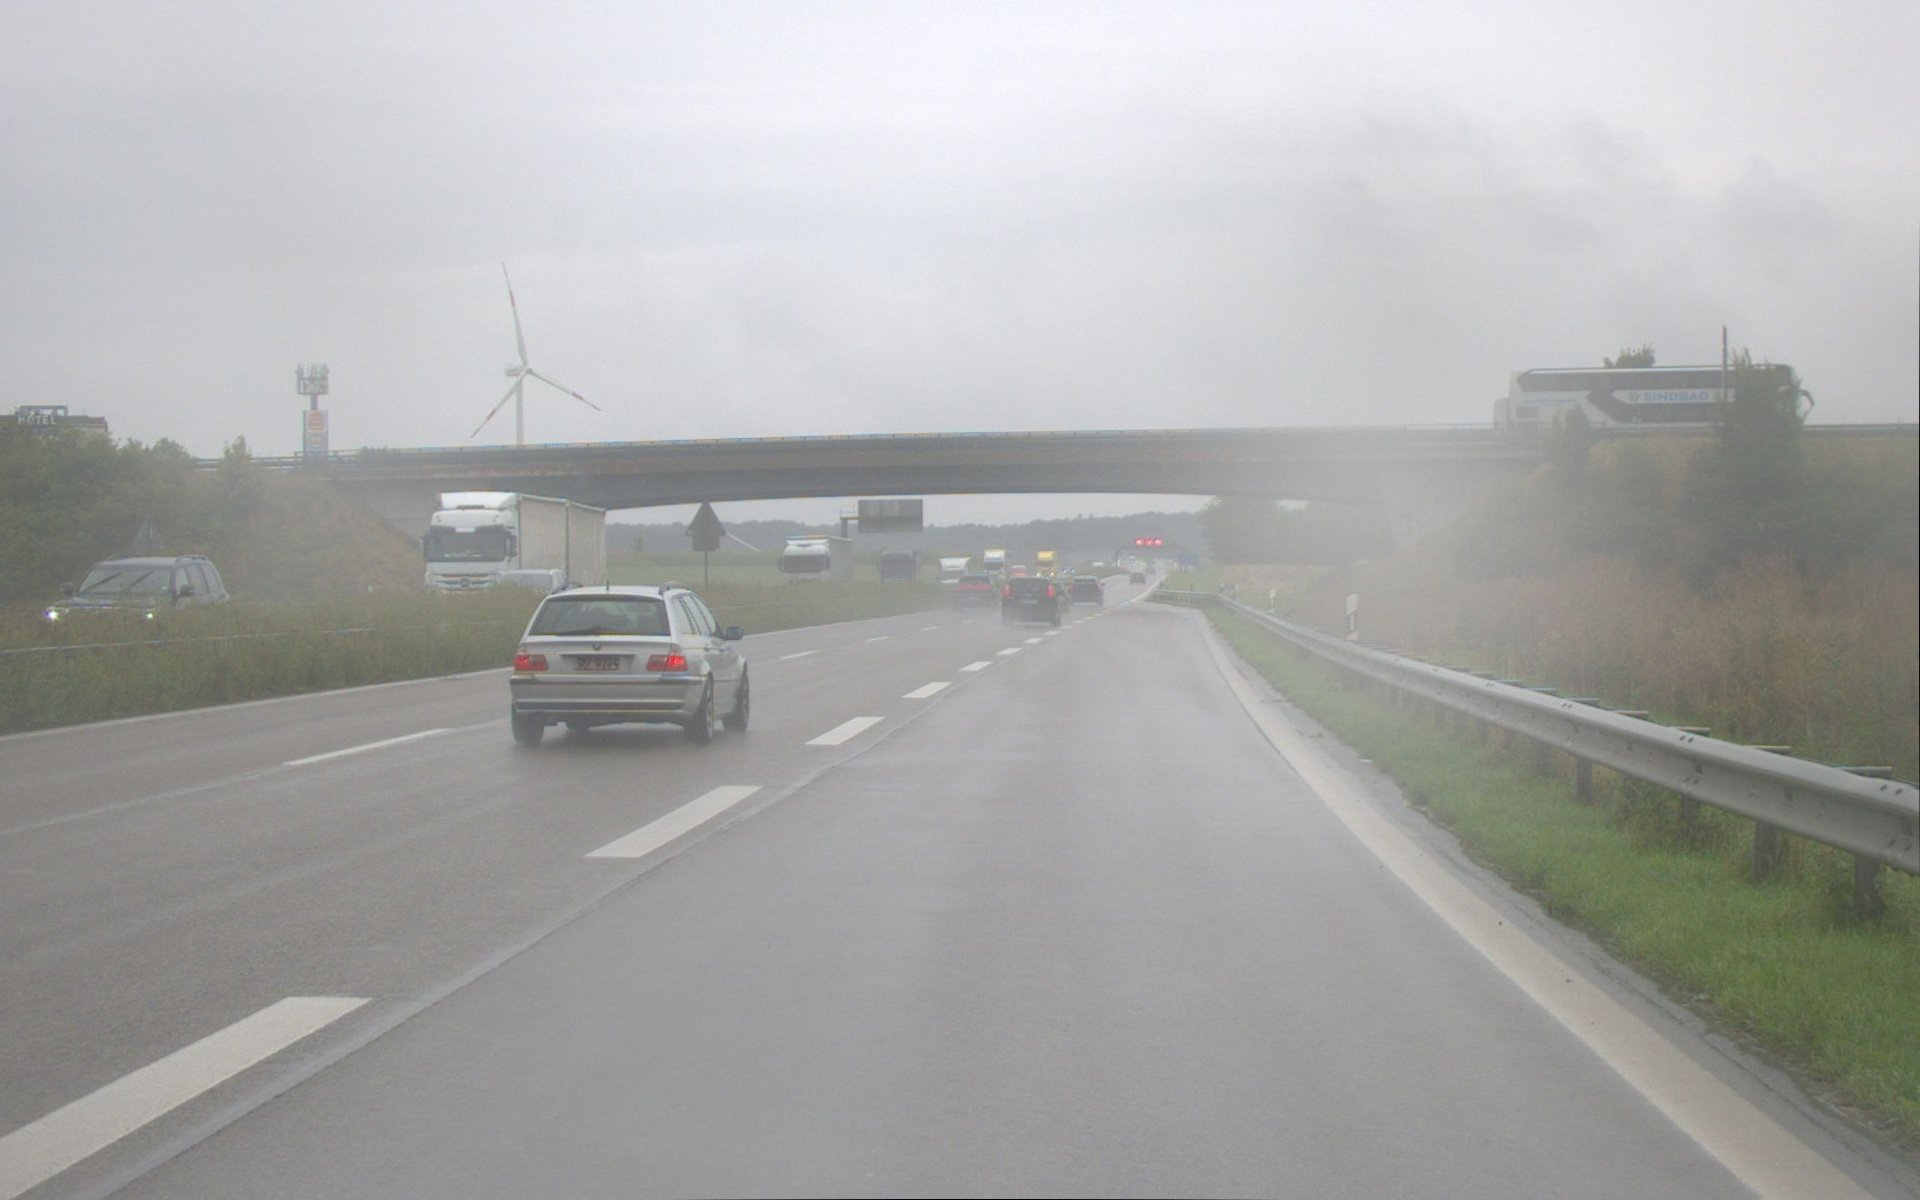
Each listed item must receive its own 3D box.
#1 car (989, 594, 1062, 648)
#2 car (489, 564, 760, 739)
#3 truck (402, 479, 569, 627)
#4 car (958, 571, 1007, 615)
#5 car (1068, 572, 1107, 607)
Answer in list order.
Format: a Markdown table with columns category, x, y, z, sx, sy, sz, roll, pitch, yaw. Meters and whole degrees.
| category | x | y | z | sx | sy | sz | roll | pitch | yaw |
| --- | --- | --- | --- | --- | --- | --- | --- | --- | --- |
| car | 2.092 | 0.646 | 108.486 | 2.145 | 1.630 | 4.594 | 1 | 0 | 3 |
| car | -3.011 | 0.436 | 31.790 | 1.874 | 1.483 | 4.796 | 0 | 0 | 2 |
| truck | -14.760 | -1.431 | 107.759 | 3.229 | 4.370 | 10.513 | -1 | 0 | 3 |
| car | 1.040 | -0.344 | 155.957 | 1.994 | 1.743 | 4.000 | -2 | 2 | 3 |
| car | 6.983 | -0.572 | 187.697 | 1.994 | 1.691 | 4.000 | -2 | 2 | 3 |
